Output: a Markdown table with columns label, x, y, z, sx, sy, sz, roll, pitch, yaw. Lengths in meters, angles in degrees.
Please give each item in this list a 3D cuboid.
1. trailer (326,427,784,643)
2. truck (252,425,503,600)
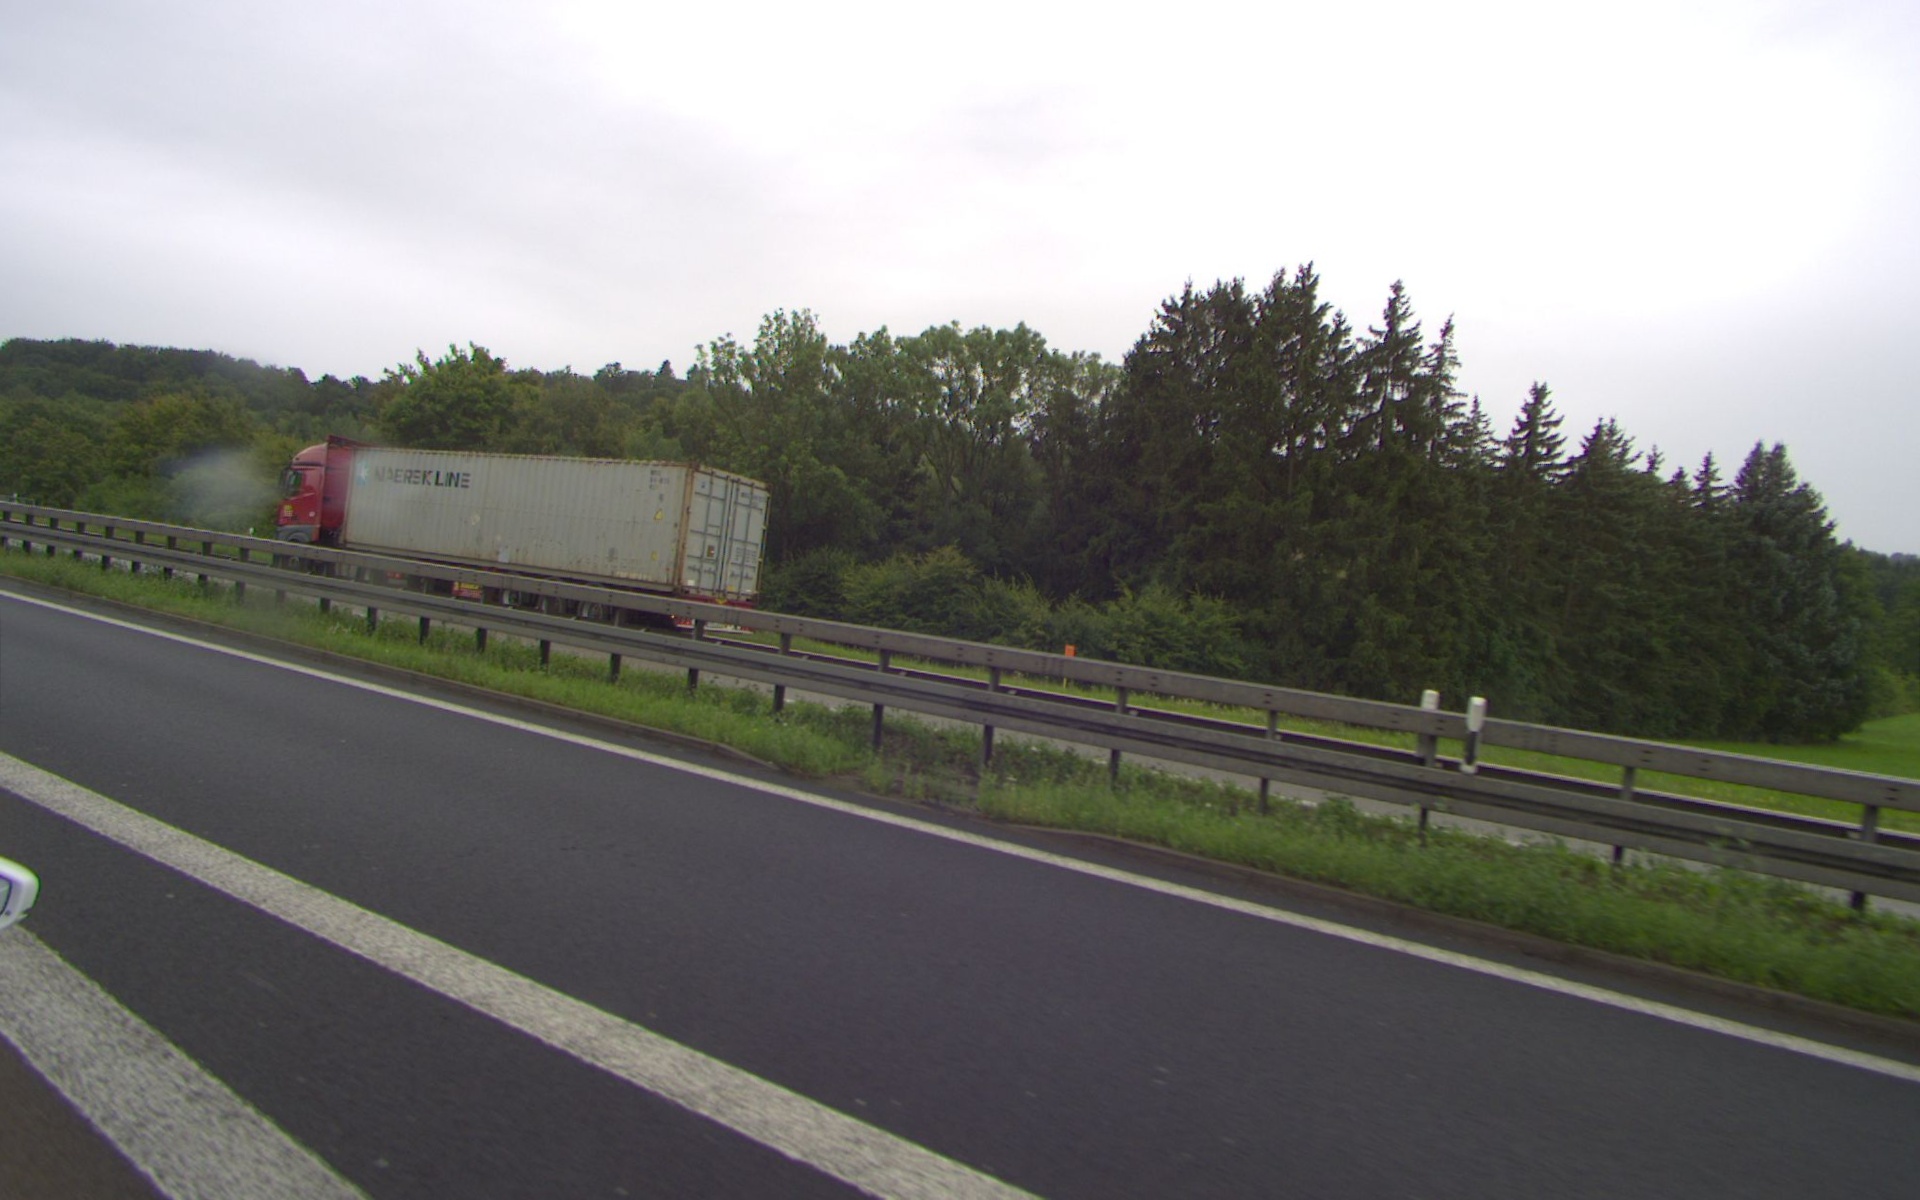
| label | x | y | z | sx | sy | sz | roll | pitch | yaw |
| --- | --- | --- | --- | --- | --- | --- | --- | --- | --- |
| trailer | -10.037 | -1.742 | 23.893 | 12.276 | 3.940 | 2.610 | 7 | -1 | 29 |
| truck | -15.690 | -2.377 | 27.033 | 6.282 | 3.930 | 2.622 | 7 | -1 | 29 |
